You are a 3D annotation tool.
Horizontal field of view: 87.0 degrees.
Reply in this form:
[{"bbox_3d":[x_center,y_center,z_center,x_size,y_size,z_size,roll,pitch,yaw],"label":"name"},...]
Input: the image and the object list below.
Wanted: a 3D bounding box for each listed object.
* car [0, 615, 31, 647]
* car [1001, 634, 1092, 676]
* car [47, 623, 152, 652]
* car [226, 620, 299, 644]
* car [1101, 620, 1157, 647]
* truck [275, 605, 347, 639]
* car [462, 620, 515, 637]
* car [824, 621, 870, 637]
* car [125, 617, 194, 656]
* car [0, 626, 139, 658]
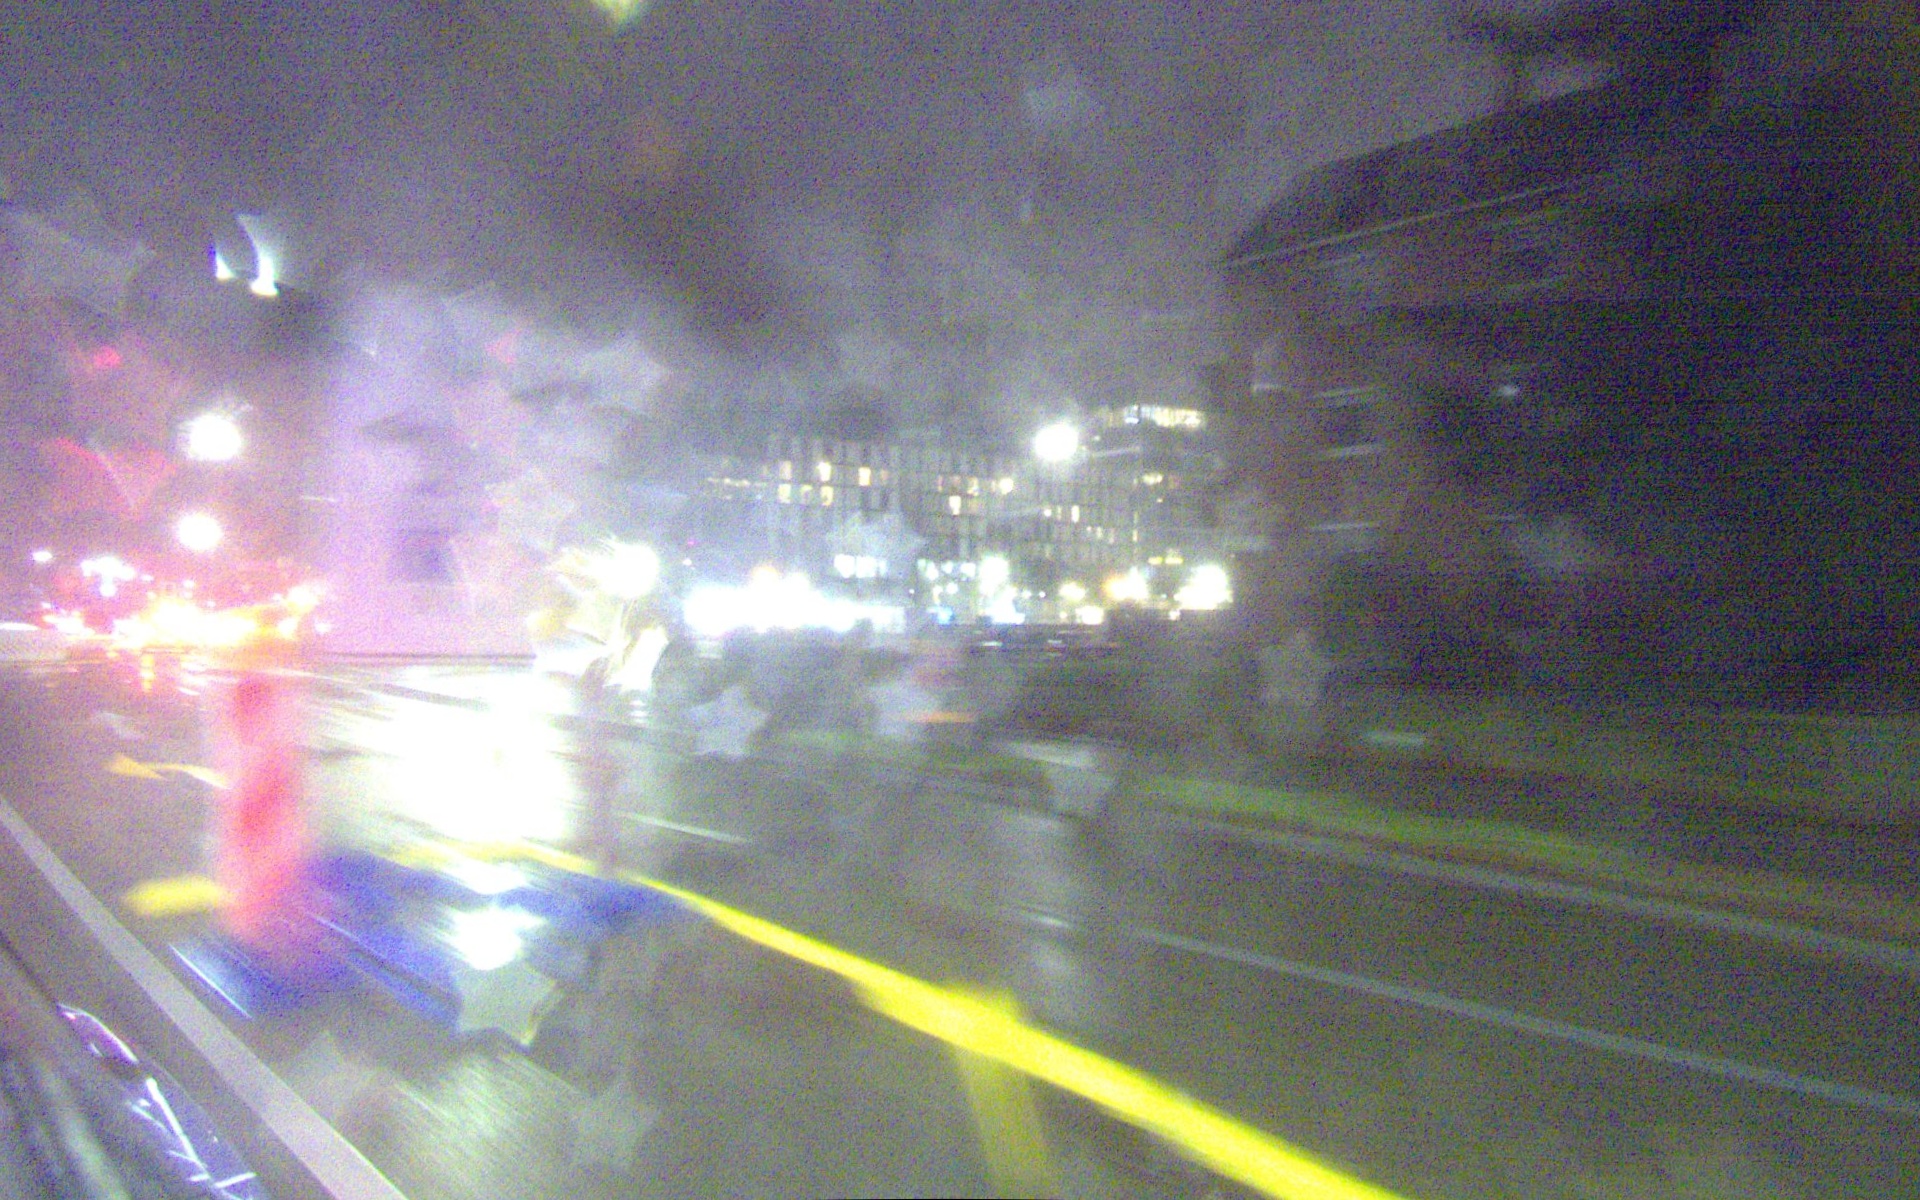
[{"bbox_3d":[-46.184,1.410,46.337,1.994,1.477,5.043,-1,-2,32],"label":"car"},{"bbox_3d":[3.007,1.912,35.825,1.510,1.345,3.833,1,-2,-25],"label":"car"},{"bbox_3d":[-49.340,2.127,58.120,1.984,1.545,4.160,0,-1,18],"label":"car"},{"bbox_3d":[-47.053,2.152,68.358,1.972,1.545,4.184,1,-2,1],"label":"car"},{"bbox_3d":[12.986,2.539,78.074,2.293,1.749,4.327,4,0,-20],"label":"car"},{"bbox_3d":[-48.409,1.665,75.727,2.283,2.415,7.835,1,-2,-15],"label":"truck"},{"bbox_3d":[-44.080,2.687,94.669,4.351,1.545,2.007,2,-2,-24],"label":"car"},{"bbox_3d":[-11.871,3.028,106.352,4.354,1.634,2.006,2,-2,-25],"label":"car"},{"bbox_3d":[-34.104,1.535,43.075,1.969,1.466,4.309,7,-5,-41],"label":"car"},{"bbox_3d":[-46.782,2.178,53.310,1.988,1.594,5.155,-1,-1,24],"label":"car"}]
